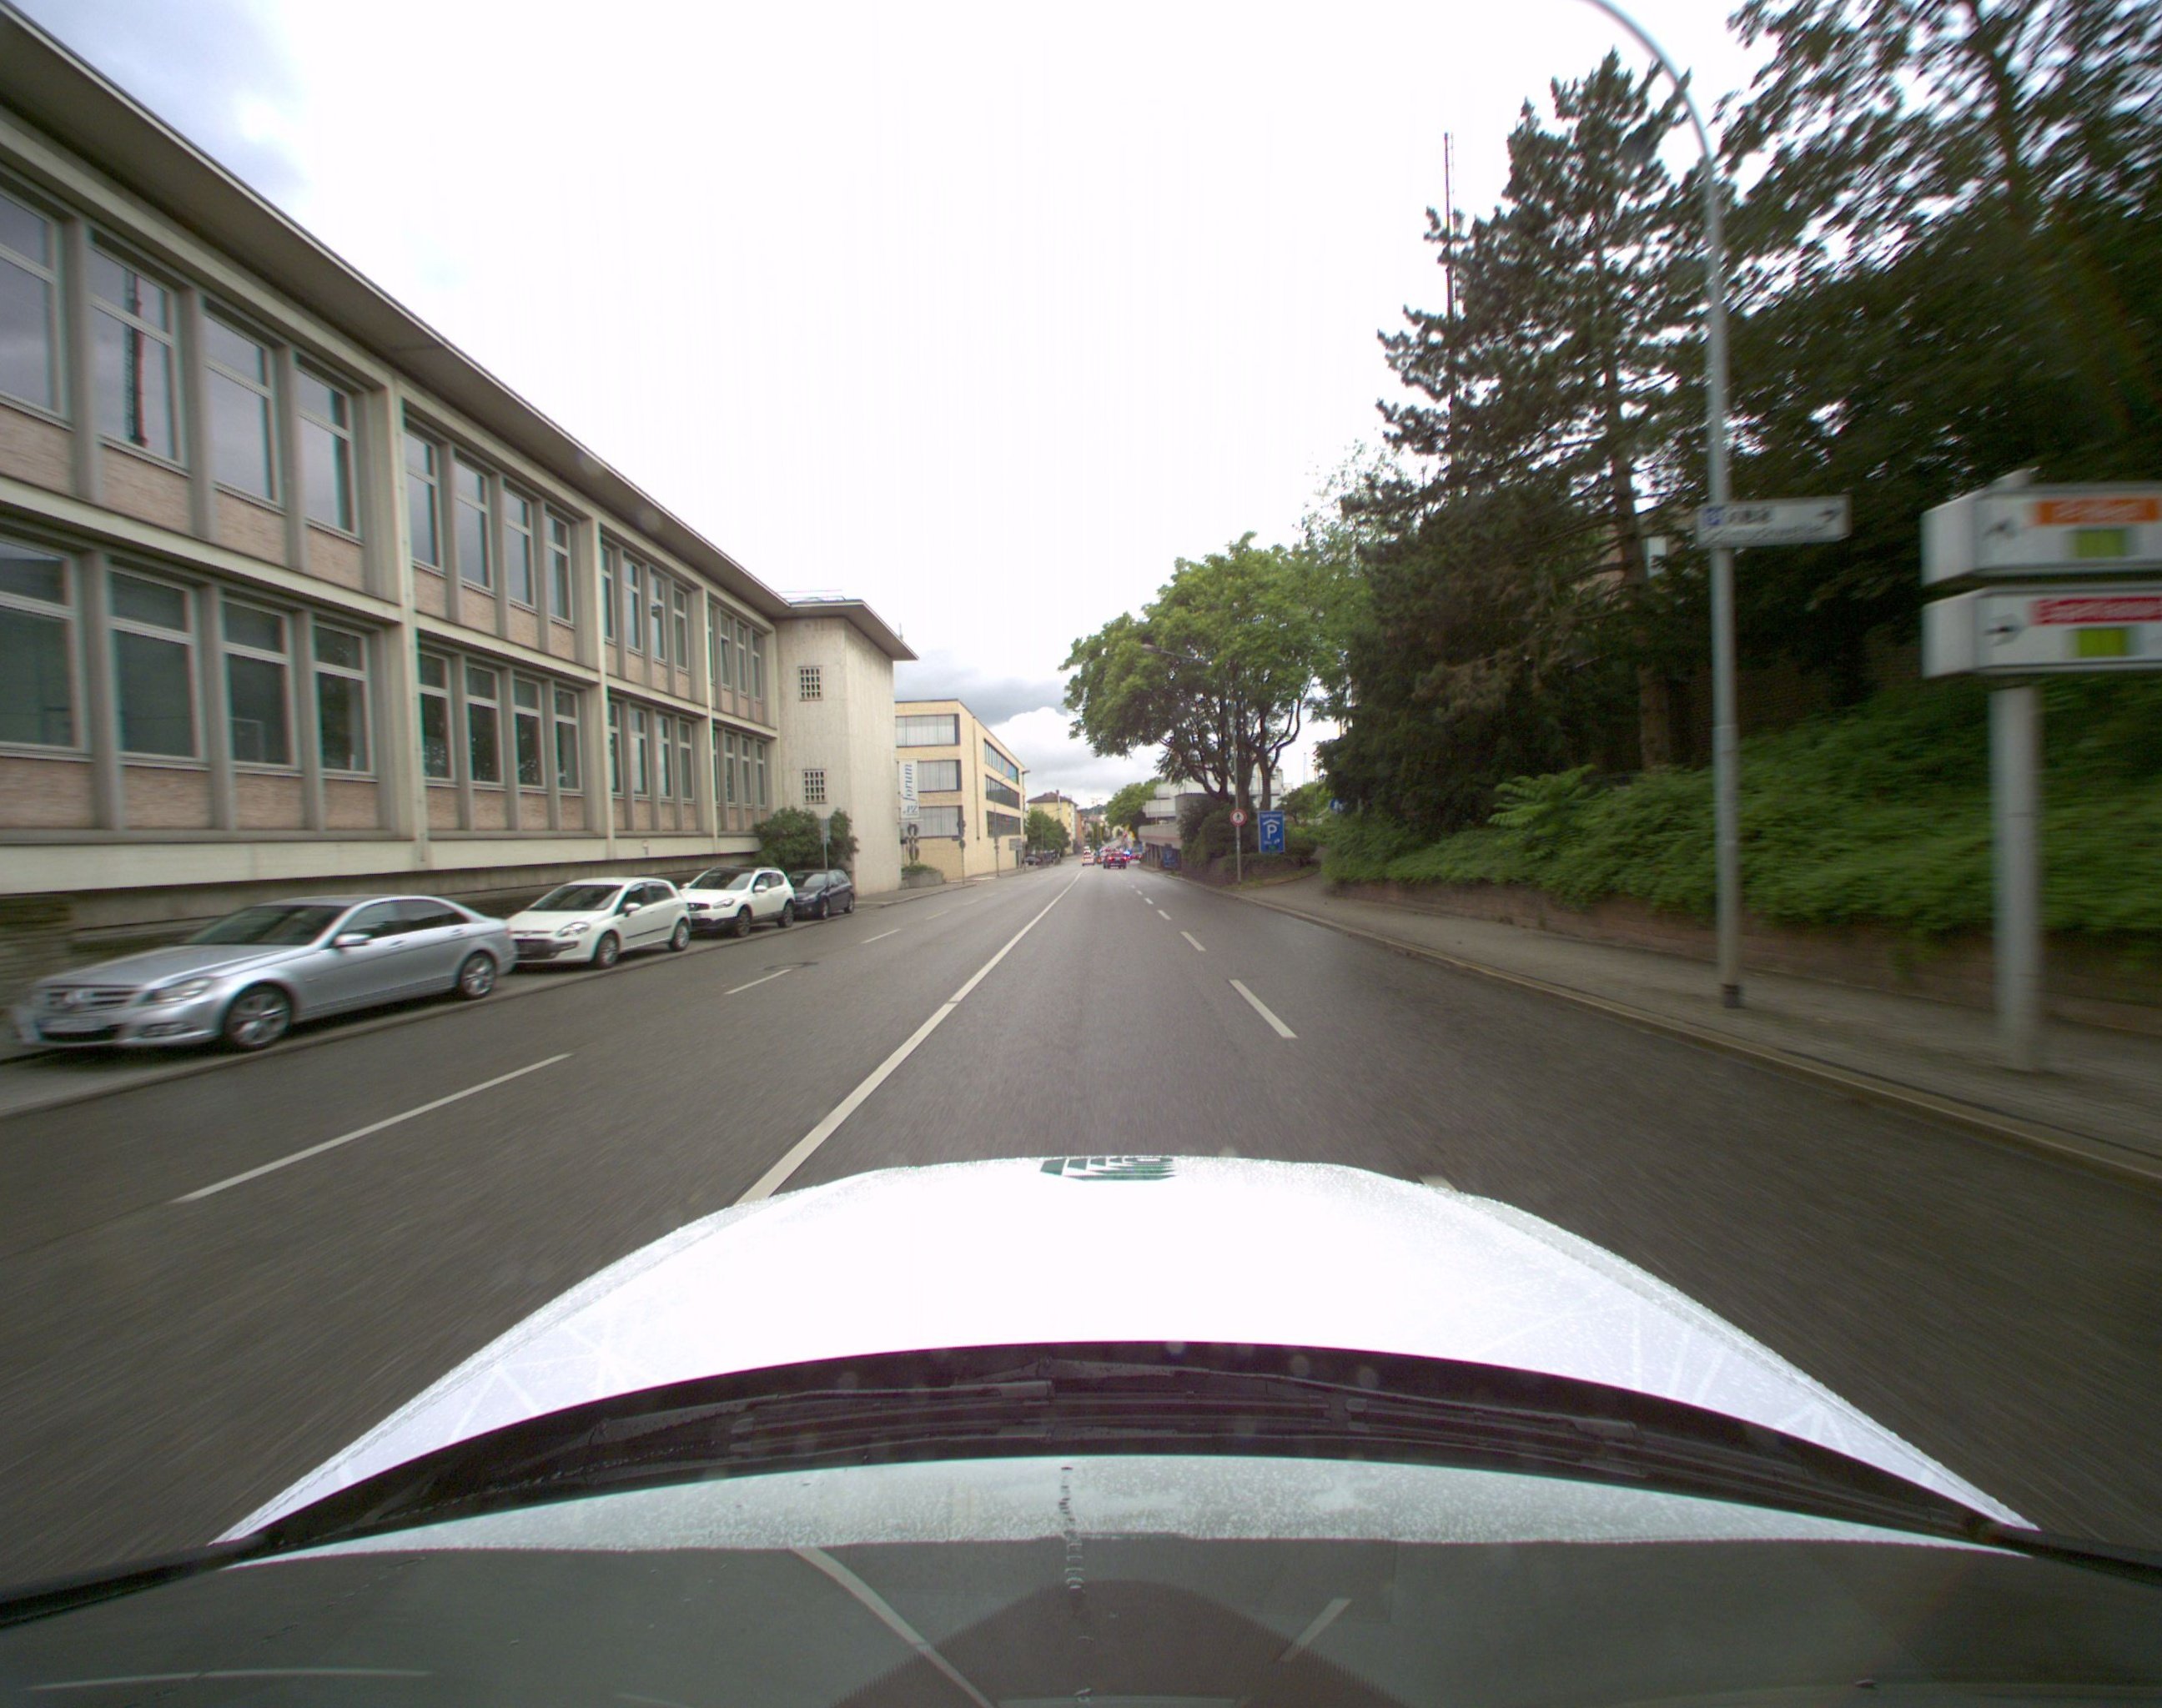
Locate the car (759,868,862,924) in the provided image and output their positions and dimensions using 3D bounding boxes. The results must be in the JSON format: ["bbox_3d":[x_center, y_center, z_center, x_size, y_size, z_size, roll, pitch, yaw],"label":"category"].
[{"bbox_3d":[-8.276,1.239,25.287,1.742,1.480,4.181,-1,0,0],"label":"car"}]

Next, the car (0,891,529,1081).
[{"bbox_3d":[-8.740,1.252,9.323,1.742,1.435,4.486,-1,0,0],"label":"car"}]

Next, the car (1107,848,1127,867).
[{"bbox_3d":[3.881,0.364,88.500,2.083,1.910,4.102,-2,0,2],"label":"car"}]

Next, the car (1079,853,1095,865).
[{"bbox_3d":[0.896,0.724,121.963,1.989,1.680,3.995,-2,0,-3],"label":"car"}]

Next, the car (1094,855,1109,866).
[{"bbox_3d":[3.314,1.041,129.927,1.989,1.680,3.995,-2,0,-3],"label":"car"}]

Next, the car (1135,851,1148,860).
[{"bbox_3d":[12.850,0.316,171.694,1.979,1.680,4.016,-2,0,15],"label":"car"}]

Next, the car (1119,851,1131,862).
[{"bbox_3d":[8.423,0.460,155.503,2.164,2.004,4.003,-2,0,2],"label":"car"}]

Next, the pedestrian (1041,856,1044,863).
[{"bbox_3d":[-6.948,1.039,146.947,0.450,1.278,0.456,-2,0,12],"label":"pedestrian"}]

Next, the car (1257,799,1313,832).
[{"bbox_3d":[13.689,-2.548,54.727,3.429,2.013,1.658,-2,0,9],"label":"car"}]

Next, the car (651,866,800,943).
[{"bbox_3d":[-8.592,1.157,20.105,1.741,1.597,4.182,-1,0,1],"label":"car"}]

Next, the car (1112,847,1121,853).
[{"bbox_3d":[10.084,-1.178,231.332,1.988,1.679,3.998,-3,1,-1],"label":"car"}]

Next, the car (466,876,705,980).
[{"bbox_3d":[-8.690,1.212,14.789,1.742,1.454,4.181,-1,0,0],"label":"car"}]

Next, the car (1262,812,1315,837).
[{"bbox_3d":[15.284,-2.160,60.020,3.601,1.706,1.645,-2,0,9],"label":"car"}]

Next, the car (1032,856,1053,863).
[{"bbox_3d":[-7.098,0.993,150.175,3.648,1.235,1.439,-2,0,-5],"label":"car"}]

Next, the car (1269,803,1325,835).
[{"bbox_3d":[15.093,-2.442,57.058,3.563,2.013,1.600,-2,0,9],"label":"car"}]
